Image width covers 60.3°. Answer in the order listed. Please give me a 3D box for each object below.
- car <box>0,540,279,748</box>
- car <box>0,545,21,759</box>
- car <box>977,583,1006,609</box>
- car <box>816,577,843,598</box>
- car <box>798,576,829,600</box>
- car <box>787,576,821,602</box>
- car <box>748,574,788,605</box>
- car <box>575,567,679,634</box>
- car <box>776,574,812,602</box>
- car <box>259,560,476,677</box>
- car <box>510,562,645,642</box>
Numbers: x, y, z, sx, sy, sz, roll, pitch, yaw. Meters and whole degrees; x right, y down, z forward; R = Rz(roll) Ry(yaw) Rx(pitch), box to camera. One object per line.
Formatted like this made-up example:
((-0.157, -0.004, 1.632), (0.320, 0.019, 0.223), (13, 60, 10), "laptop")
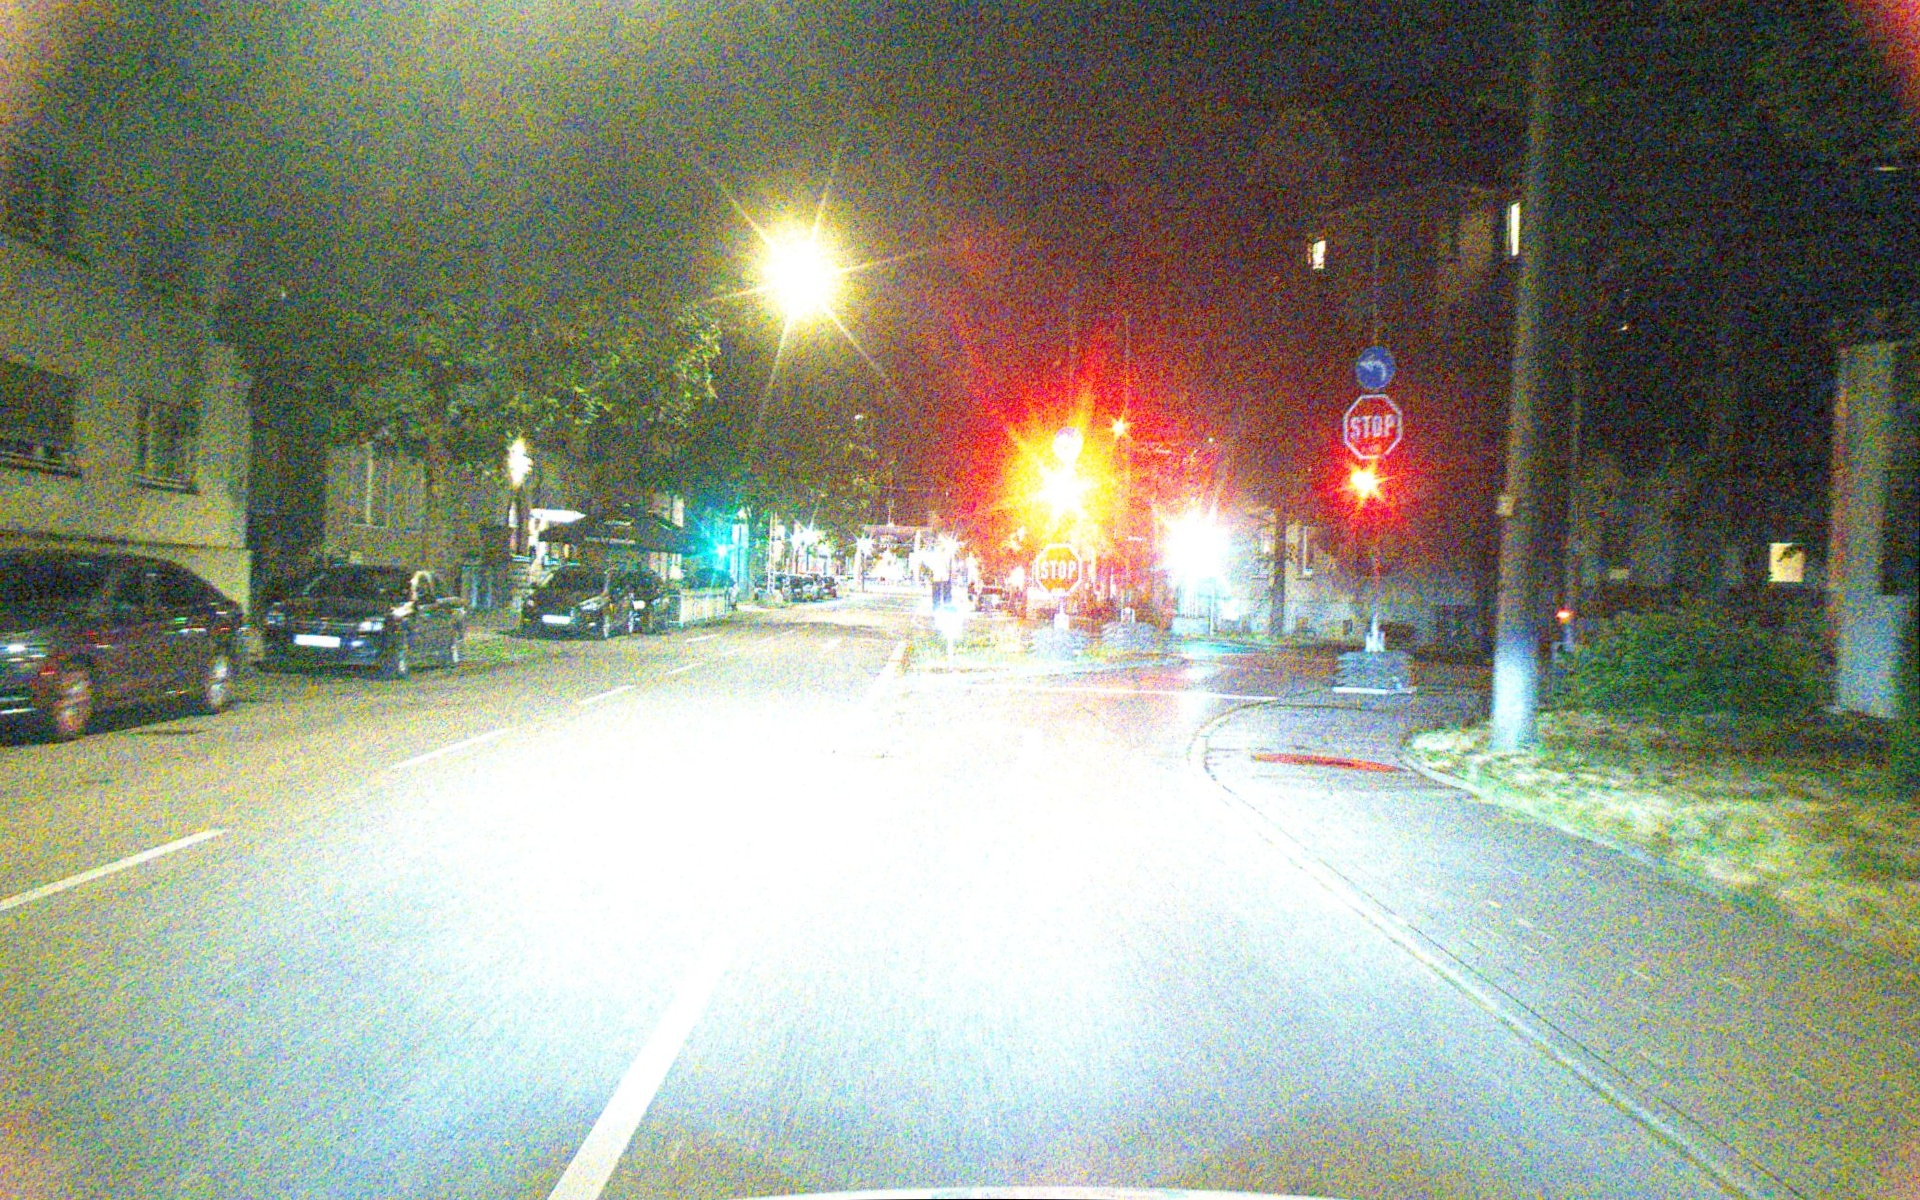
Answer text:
((-7.782, 0.285, 14.450), (1.732, 1.511, 4.862), (2, 0, -2), "car")
((-7.537, 0.355, 9.479), (1.733, 1.511, 4.765), (2, 0, -3), "car")
((1.773, -0.241, 94.386), (1.617, 1.456, 4.000), (2, 0, 0), "car")
((-9.332, -0.914, 118.243), (1.618, 1.456, 3.999), (2, 0, -1), "car")
((-9.220, -0.743, 104.509), (1.618, 1.456, 3.999), (2, 0, -1), "car")
((-9.198, -0.660, 97.623), (1.618, 1.456, 3.999), (2, 0, -1), "car")
((-9.676, -0.537, 83.568), (1.618, 1.456, 3.999), (2, 0, -1), "car")
((-8.167, -0.009, 40.940), (1.767, 1.507, 4.322), (2, 0, -2), "car")
((-9.187, -0.664, 91.612), (1.618, 1.456, 3.999), (2, 0, -1), "car")
((-8.010, 0.216, 22.783), (1.590, 1.407, 4.449), (2, 0, -4), "car")
((-8.213, 0.009, 35.944), (1.861, 1.497, 4.451), (4, 1, -1), "car")
